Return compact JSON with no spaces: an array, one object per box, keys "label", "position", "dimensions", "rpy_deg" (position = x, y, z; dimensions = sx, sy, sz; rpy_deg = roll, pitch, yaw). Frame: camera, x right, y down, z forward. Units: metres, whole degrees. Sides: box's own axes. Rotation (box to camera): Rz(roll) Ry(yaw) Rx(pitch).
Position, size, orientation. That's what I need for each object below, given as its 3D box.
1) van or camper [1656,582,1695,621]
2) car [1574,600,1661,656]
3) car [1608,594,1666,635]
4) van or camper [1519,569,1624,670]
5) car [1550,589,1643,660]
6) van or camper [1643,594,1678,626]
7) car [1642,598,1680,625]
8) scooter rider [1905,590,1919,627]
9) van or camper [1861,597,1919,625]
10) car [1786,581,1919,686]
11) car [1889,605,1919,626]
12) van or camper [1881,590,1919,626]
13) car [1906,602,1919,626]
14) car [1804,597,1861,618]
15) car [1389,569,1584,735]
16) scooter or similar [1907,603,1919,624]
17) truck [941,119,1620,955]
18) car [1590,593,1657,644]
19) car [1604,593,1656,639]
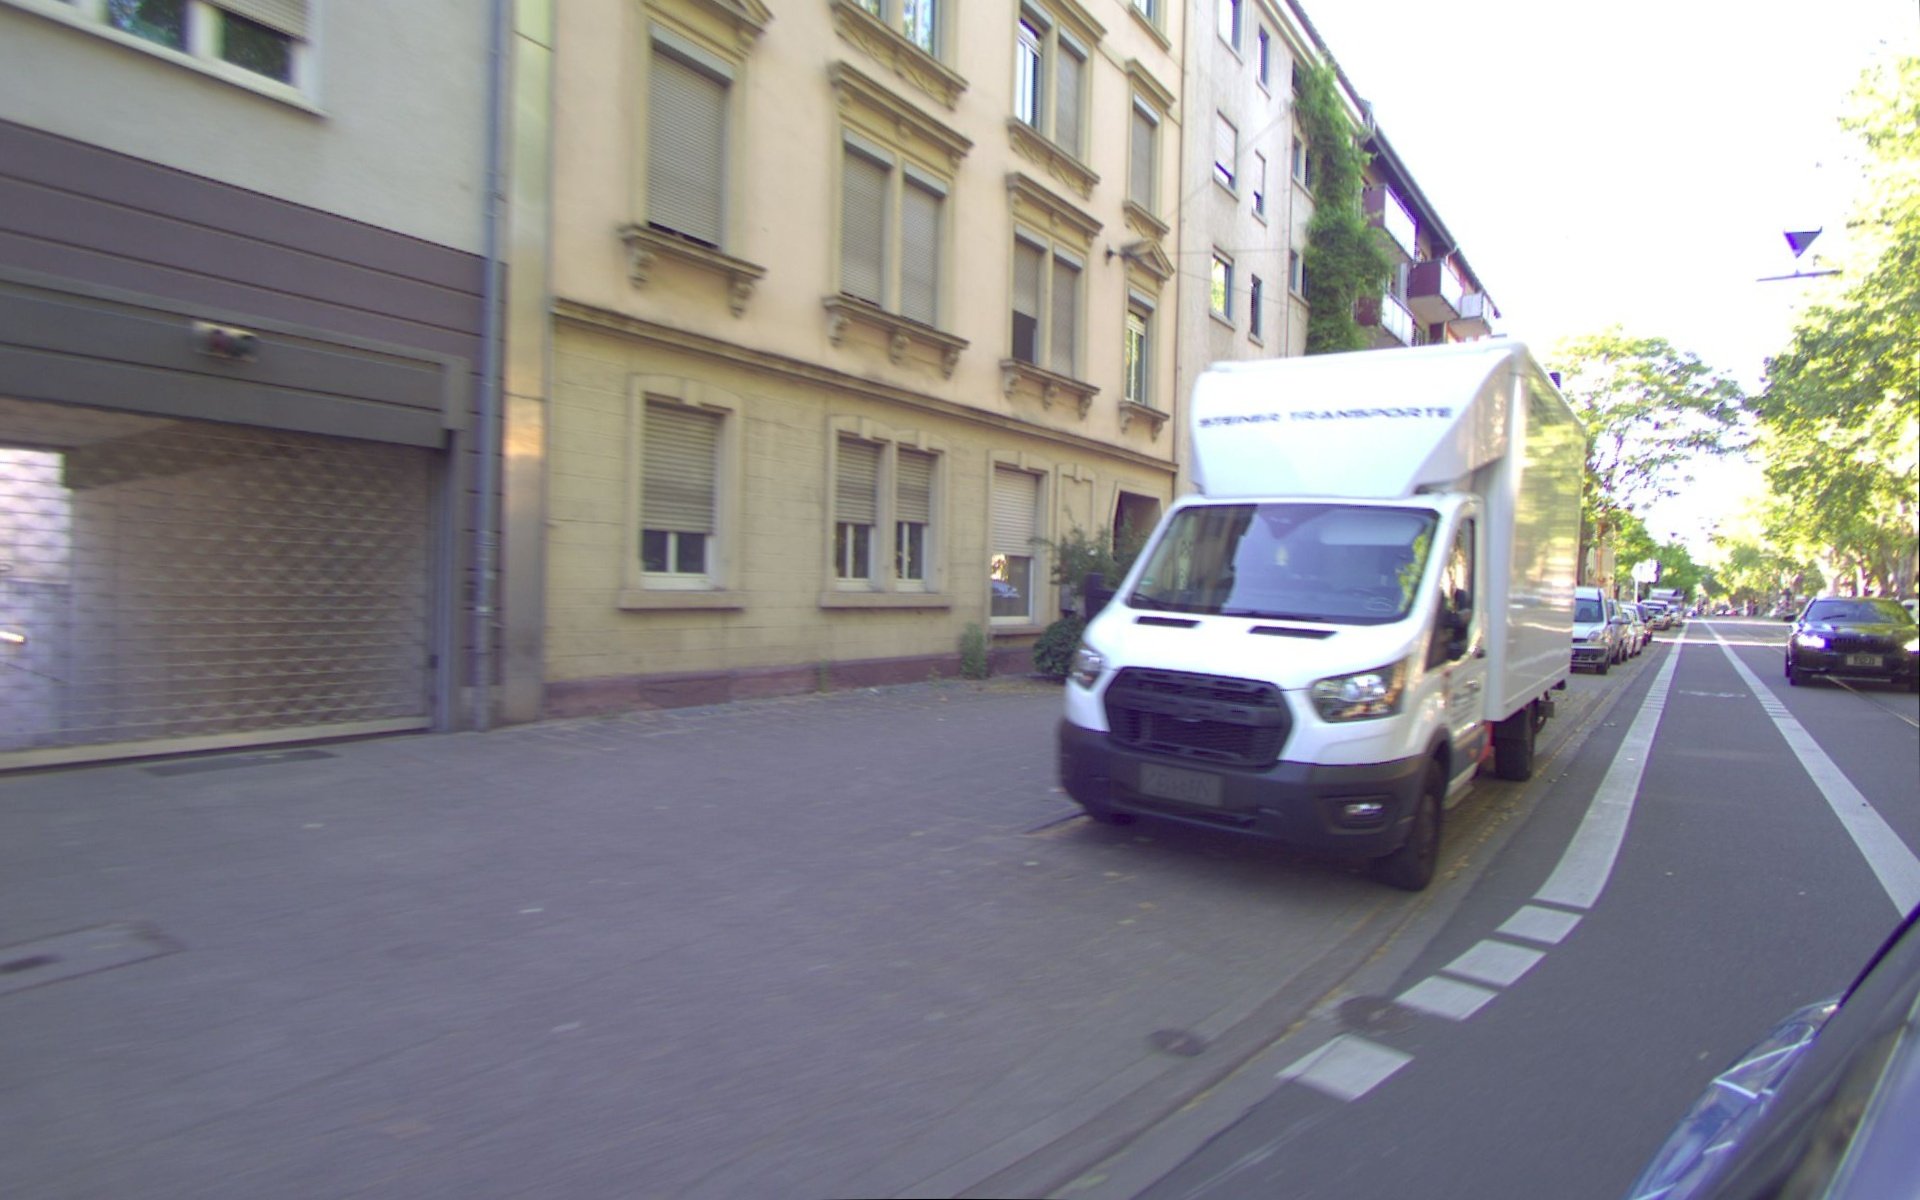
[{"label":"van or camper","position":[61.103,0.093,86.450],"dimensions":[2.455,3.102,6.188],"rpy_deg":[4,2,35]},{"label":"car","position":[19.238,0.766,29.545],"dimensions":[1.657,1.416,4.673],"rpy_deg":[4,2,38]},{"label":"car","position":[27.570,0.571,41.146],"dimensions":[1.729,1.480,3.864],"rpy_deg":[4,2,36]},{"label":"van or camper","position":[13.233,0.367,21.783],"dimensions":[1.663,1.906,4.159],"rpy_deg":[3,2,34]},{"label":"car","position":[16.208,0.583,25.697],"dimensions":[1.656,1.600,3.540],"rpy_deg":[3,2,37]},{"label":"van or camper","position":[45.074,0.624,65.129],"dimensions":[1.750,1.887,4.768],"rpy_deg":[2,1,35]},{"label":"car","position":[42.026,0.672,60.642],"dimensions":[1.701,1.491,3.947],"rpy_deg":[2,1,36]},{"label":"scooter rider","position":[50.976,0.452,54.078],"dimensions":[0.648,1.982,0.615],"rpy_deg":[0,0,38]},{"label":"van or camper","position":[77.433,0.865,83.221],"dimensions":[4.807,2.217,2.091],"rpy_deg":[1,0,37]},{"label":"car","position":[17.296,0.572,19.466],"dimensions":[1.914,1.774,4.743],"rpy_deg":[1,0,36]},{"label":"car","position":[68.524,1.147,71.334],"dimensions":[4.256,1.416,1.729],"rpy_deg":[3,1,38]},{"label":"van or camper","position":[70.292,0.587,73.029],"dimensions":[5.376,2.547,2.412],"rpy_deg":[1,0,37]},{"label":"car","position":[67.404,1.019,69.118],"dimensions":[3.840,1.683,1.837],"rpy_deg":[2,1,38]},{"label":"car","position":[103.574,0.877,120.221],"dimensions":[4.991,2.428,2.002],"rpy_deg":[1,-1,36]},{"label":"car","position":[6.548,0.487,12.359],"dimensions":[1.724,1.576,4.104],"rpy_deg":[5,3,32]},{"label":"scooter or similar","position":[50.996,0.724,54.110],"dimensions":[0.406,1.096,1.320],"rpy_deg":[0,0,37]},{"label":"truck","position":[3.109,-0.336,7.708],"dimensions":[2.534,3.378,7.098],"rpy_deg":[5,3,37]},{"label":"car","position":[22.653,0.590,34.524],"dimensions":[1.588,1.545,3.783],"rpy_deg":[4,3,37]},{"label":"car","position":[24.979,0.551,37.678],"dimensions":[1.521,1.610,3.704],"rpy_deg":[0,1,35]}]
